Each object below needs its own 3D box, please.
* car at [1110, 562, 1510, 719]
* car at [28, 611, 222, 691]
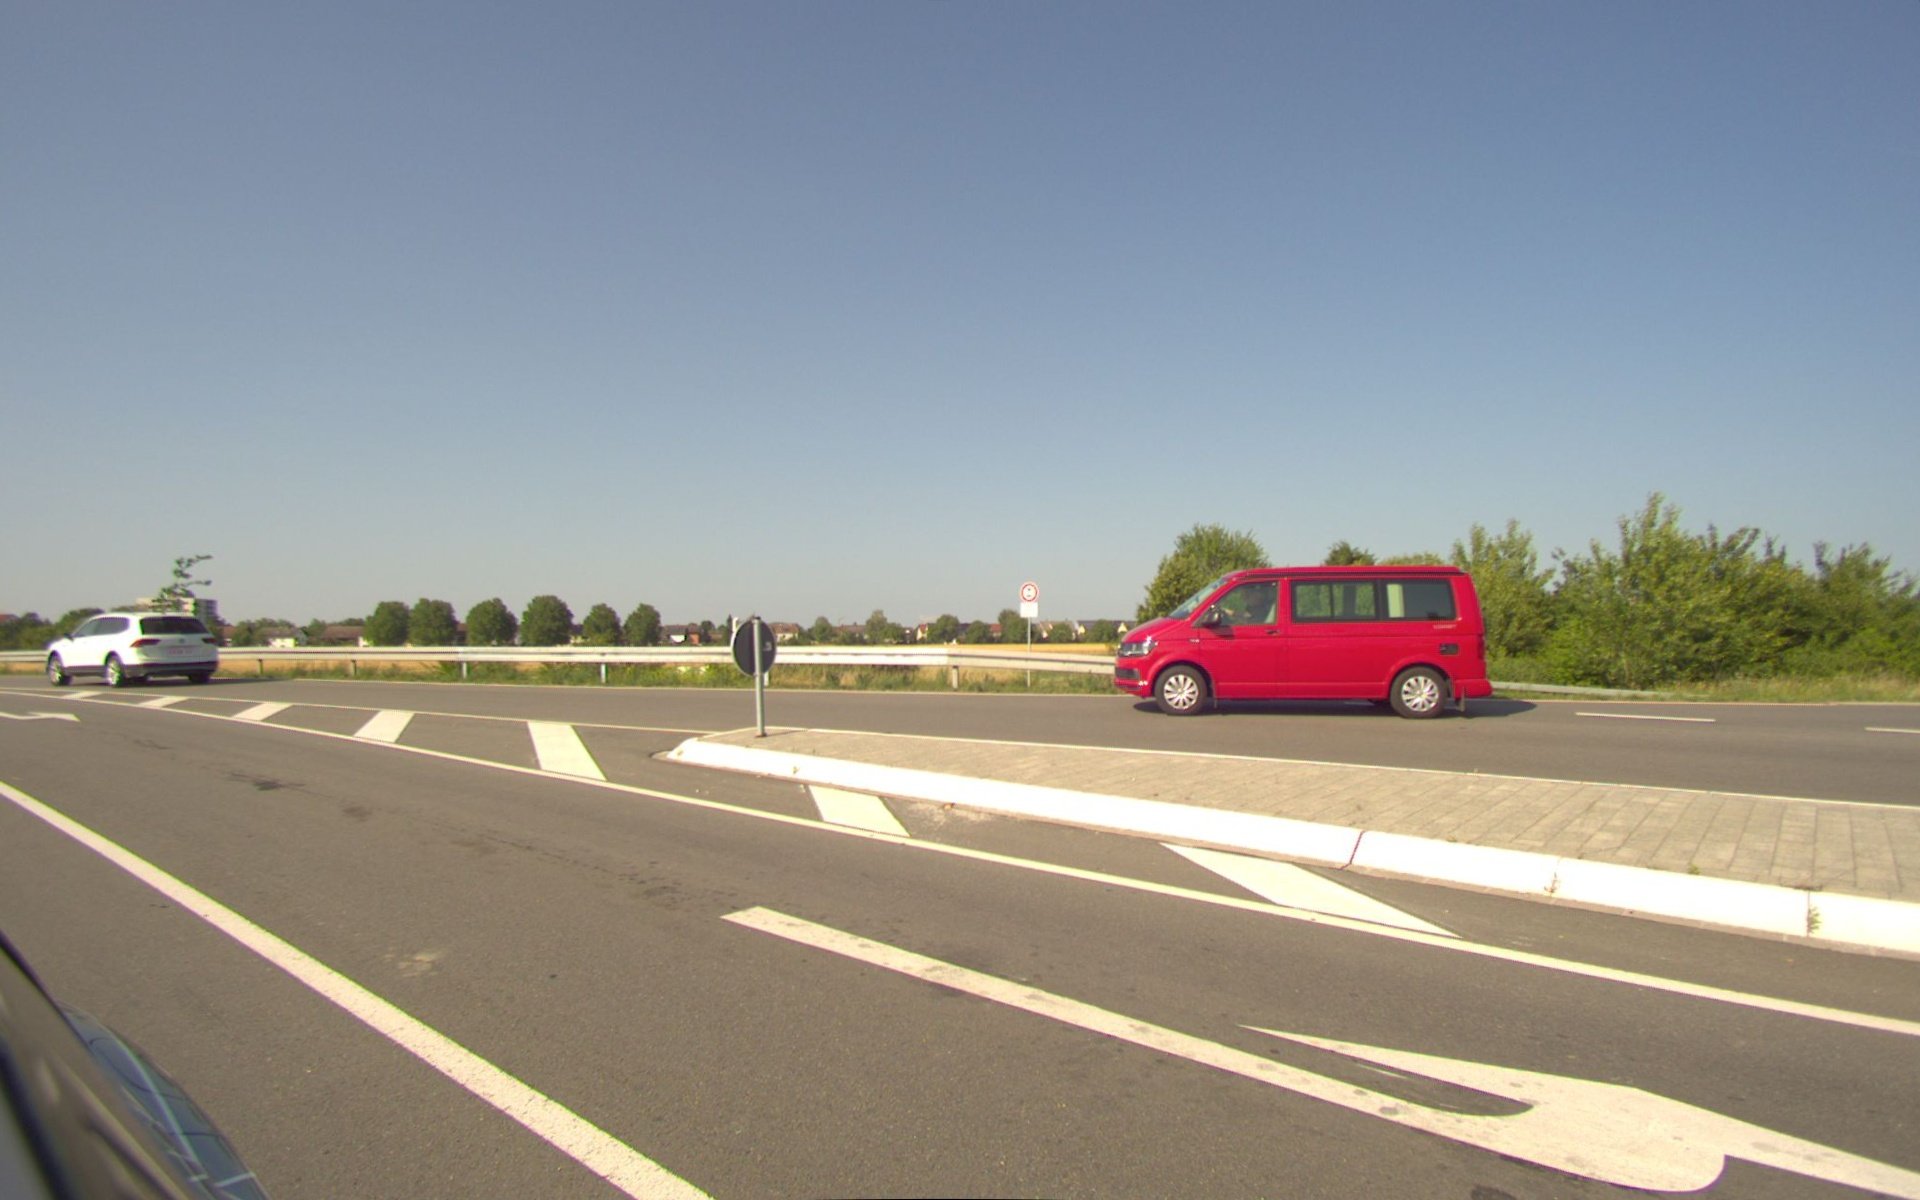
[{"bbox_3d":[4.532,0.519,13.848,4.869,1.955,1.834,0,0,9],"label":"car"},{"bbox_3d":[-19.141,1.141,23.161,4.839,1.686,1.681,-2,-2,28],"label":"car"}]
